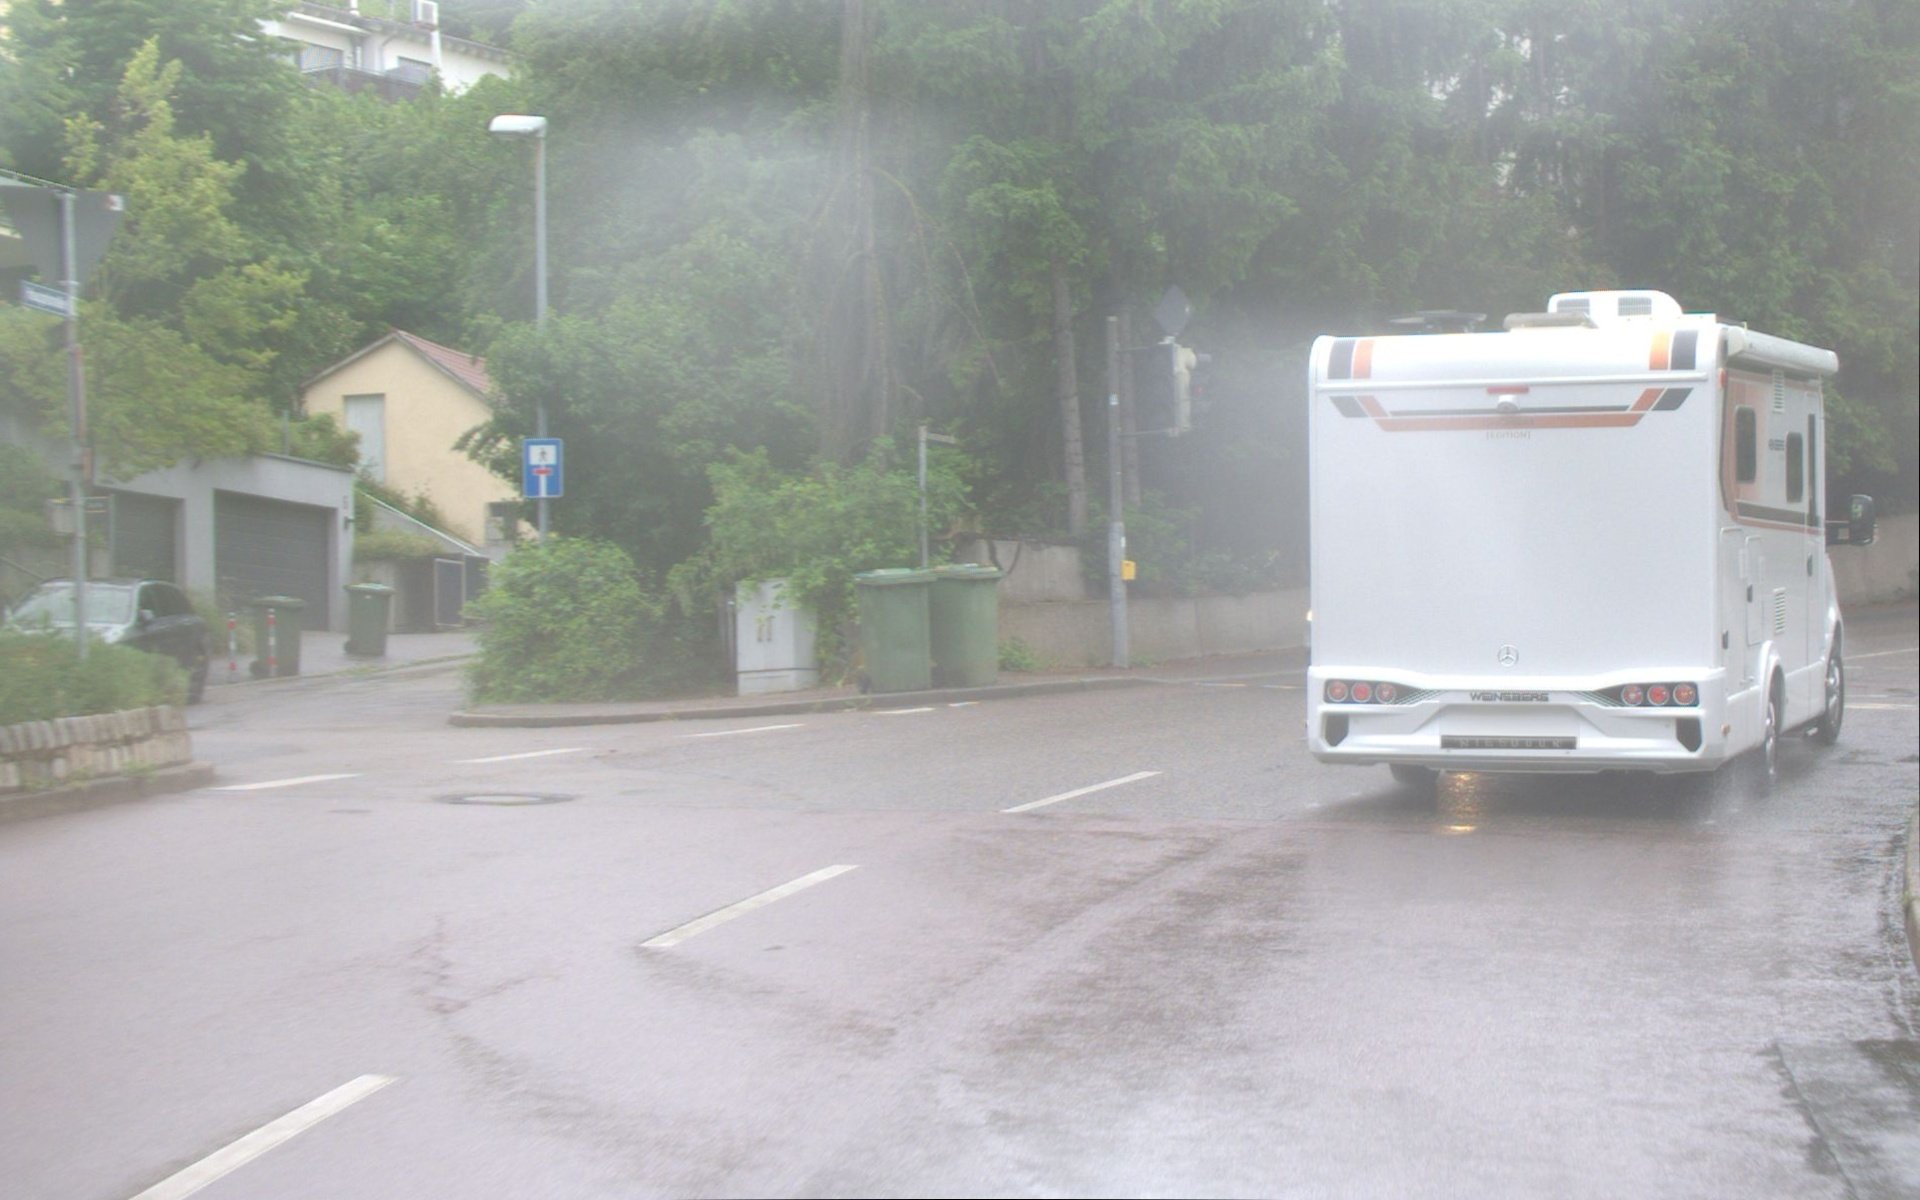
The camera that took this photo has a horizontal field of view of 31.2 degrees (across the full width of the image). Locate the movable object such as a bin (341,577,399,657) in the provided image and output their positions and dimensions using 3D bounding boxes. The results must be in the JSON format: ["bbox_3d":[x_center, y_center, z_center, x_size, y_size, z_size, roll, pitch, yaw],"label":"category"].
[{"bbox_3d":[-9.075,0.257,52.882,0.705,1.218,0.590,0,1,13],"label":"movable object such as a bin"}]

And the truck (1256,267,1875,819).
[{"bbox_3d":[3.884,-0.333,20.820,2.518,2.808,6.195,1,1,21],"label":"truck"}]

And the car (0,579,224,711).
[{"bbox_3d":[-9.650,0.459,38.520,1.598,1.355,4.447,0,1,4],"label":"car"}]

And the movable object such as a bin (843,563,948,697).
[{"bbox_3d":[-0.560,0.249,29.733,0.666,1.135,0.626,0,1,-37],"label":"movable object such as a bin"}]

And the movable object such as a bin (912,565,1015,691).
[{"bbox_3d":[0.031,0.239,30.129,0.704,1.084,0.560,0,1,-37],"label":"movable object such as a bin"}]

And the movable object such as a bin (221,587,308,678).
[{"bbox_3d":[-9.345,0.431,46.219,0.852,1.194,0.932,0,1,11],"label":"movable object such as a bin"}]
